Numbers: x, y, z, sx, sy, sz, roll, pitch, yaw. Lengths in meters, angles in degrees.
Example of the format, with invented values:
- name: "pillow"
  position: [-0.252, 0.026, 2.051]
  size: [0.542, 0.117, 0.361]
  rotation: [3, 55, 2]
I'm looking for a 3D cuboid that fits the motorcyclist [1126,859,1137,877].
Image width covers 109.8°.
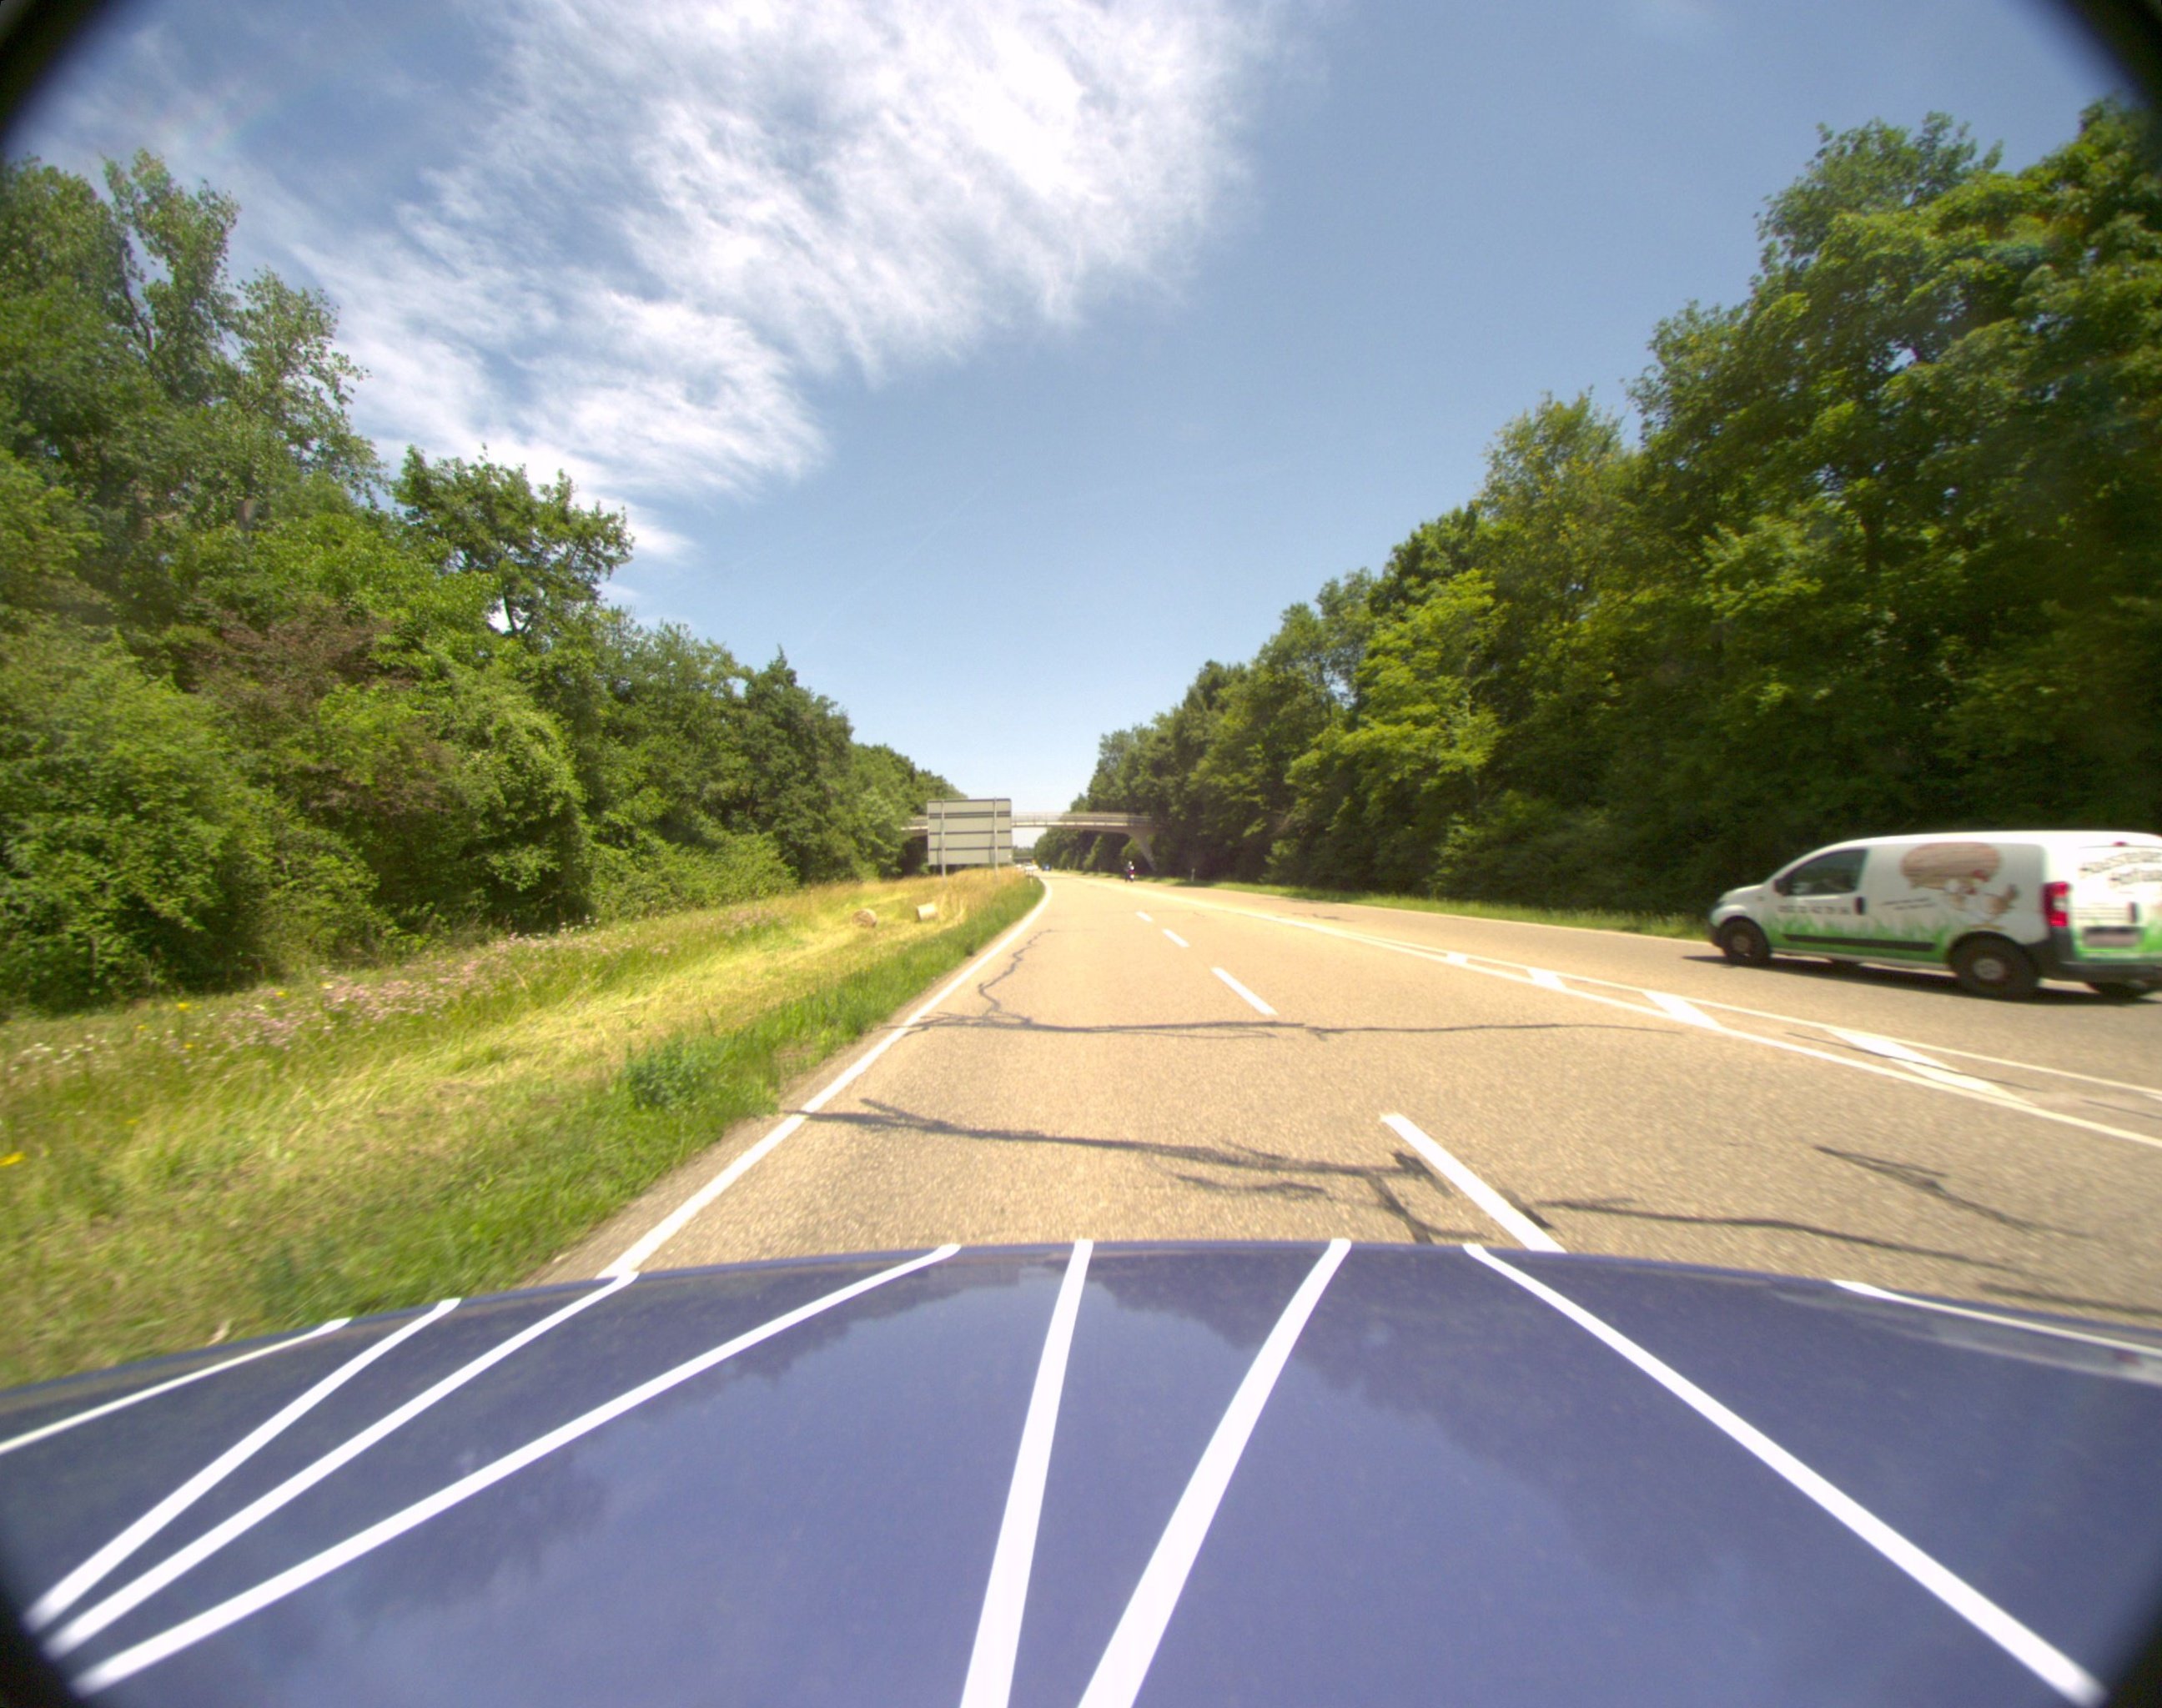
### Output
- name: "motorcyclist"
  position: [4.200, 1.157, 63.115]
  size: [0.672, 1.467, 0.813]
  rotation: [-1, 0, -8]

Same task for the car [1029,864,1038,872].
- name: "car"
  position: [-10.932, 3.242, 175.299]
  size: [1.866, 1.747, 3.998]
  rotation: [-1, 0, -6]

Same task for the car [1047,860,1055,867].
- name: "car"
  position: [-7.048, 2.284, 178.473]
  size: [1.829, 1.580, 4.417]
  rotation: [0, 0, -5]

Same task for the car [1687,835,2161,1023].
- name: "car"
  position: [9.717, 0.697, 8.904]
  size: [1.737, 1.678, 4.093]
  rotation: [0, -1, -6]

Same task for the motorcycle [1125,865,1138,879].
- name: "motorcycle"
  position: [4.202, 1.489, 63.120]
  size: [0.672, 1.167, 2.230]
  rotation: [-1, 0, -7]

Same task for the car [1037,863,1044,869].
- name: "car"
  position: [-12.714, 3.778, 239.880]
  size: [1.866, 1.747, 3.998]
  rotation: [-1, 0, -6]
